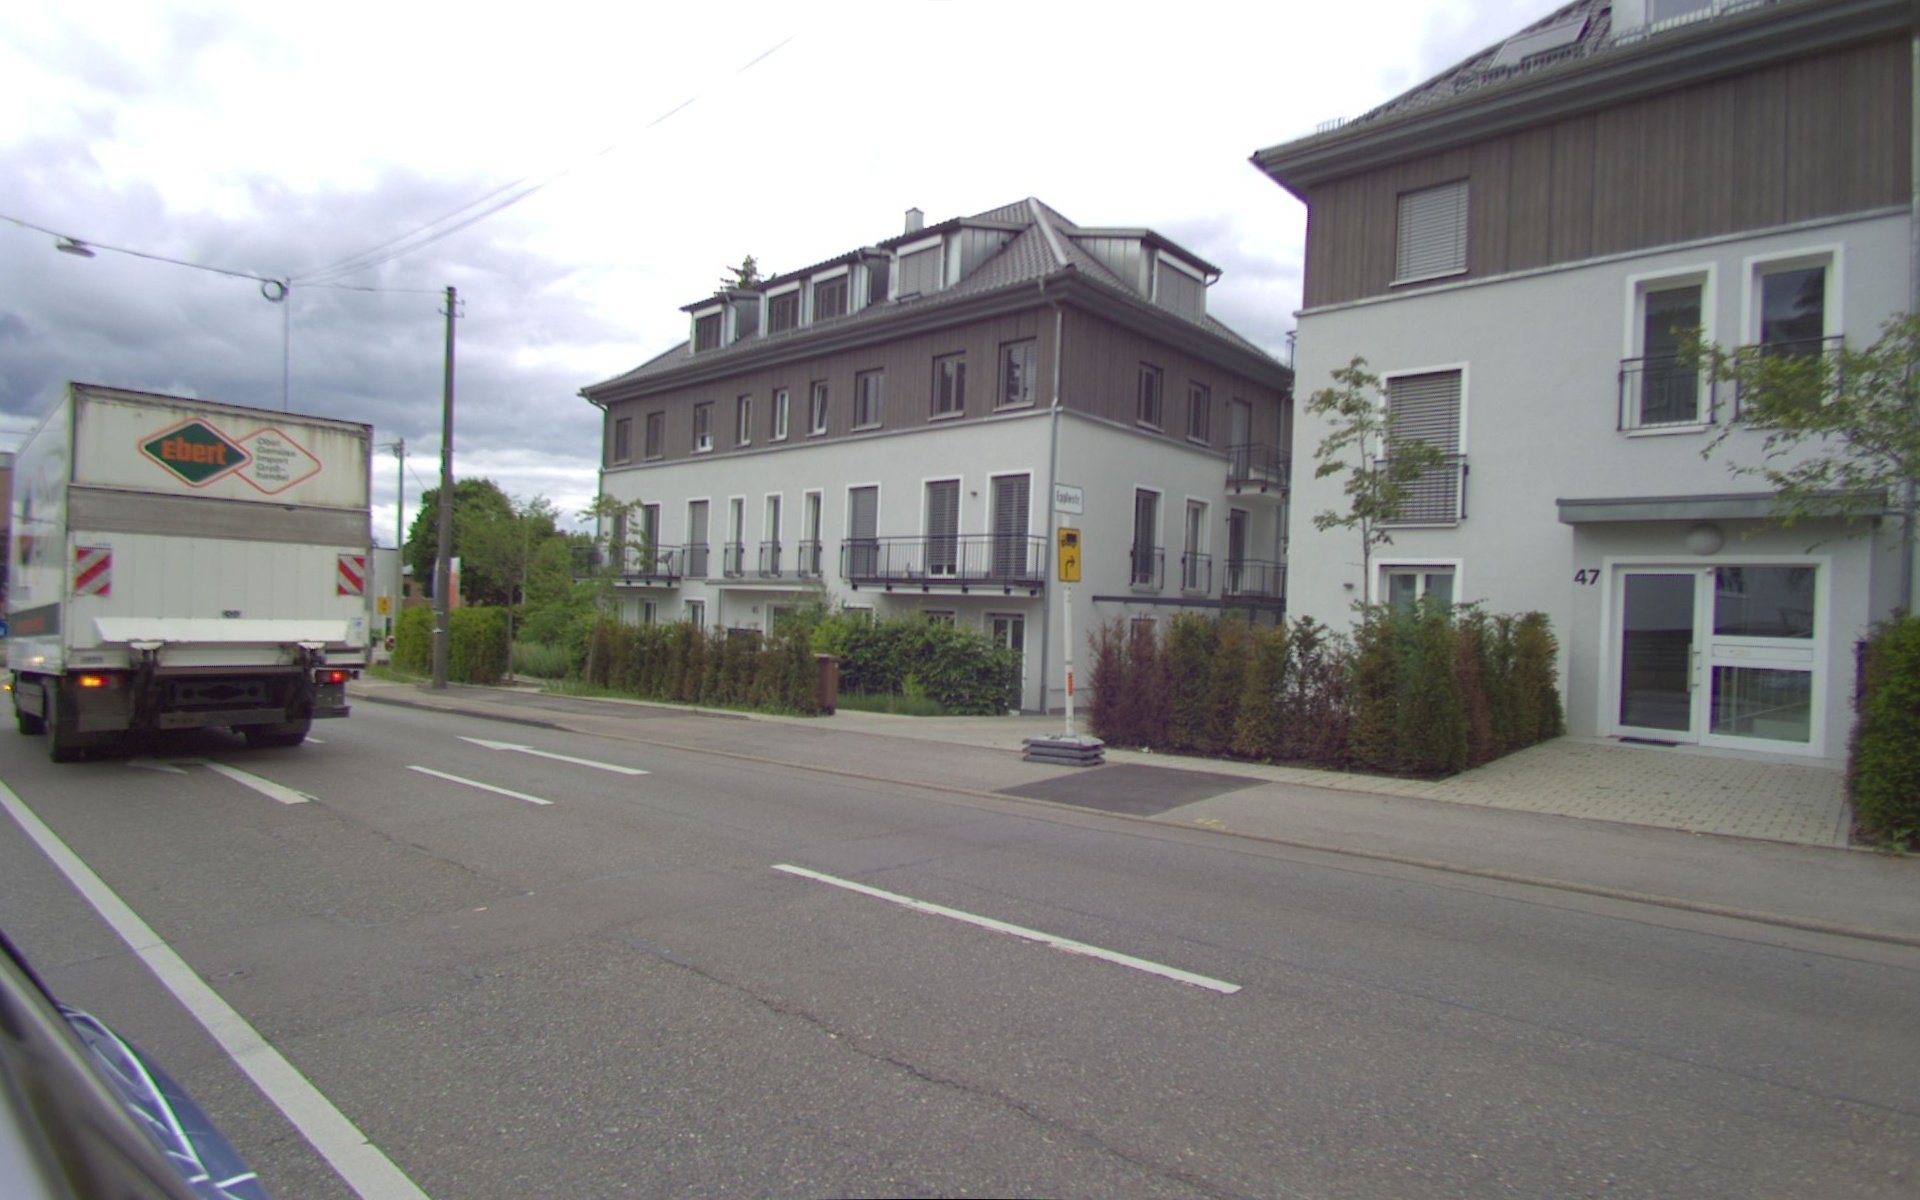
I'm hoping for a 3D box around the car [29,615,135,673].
[{"bbox_3d":[-24.525,1.232,28.420,1.801,1.496,4.758,4,-4,-36],"label":"car"}]

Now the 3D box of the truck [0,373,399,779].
[{"bbox_3d":[-9.723,-0.183,12.205,7.491,3.487,2.748,0,-2,42],"label":"truck"}]
